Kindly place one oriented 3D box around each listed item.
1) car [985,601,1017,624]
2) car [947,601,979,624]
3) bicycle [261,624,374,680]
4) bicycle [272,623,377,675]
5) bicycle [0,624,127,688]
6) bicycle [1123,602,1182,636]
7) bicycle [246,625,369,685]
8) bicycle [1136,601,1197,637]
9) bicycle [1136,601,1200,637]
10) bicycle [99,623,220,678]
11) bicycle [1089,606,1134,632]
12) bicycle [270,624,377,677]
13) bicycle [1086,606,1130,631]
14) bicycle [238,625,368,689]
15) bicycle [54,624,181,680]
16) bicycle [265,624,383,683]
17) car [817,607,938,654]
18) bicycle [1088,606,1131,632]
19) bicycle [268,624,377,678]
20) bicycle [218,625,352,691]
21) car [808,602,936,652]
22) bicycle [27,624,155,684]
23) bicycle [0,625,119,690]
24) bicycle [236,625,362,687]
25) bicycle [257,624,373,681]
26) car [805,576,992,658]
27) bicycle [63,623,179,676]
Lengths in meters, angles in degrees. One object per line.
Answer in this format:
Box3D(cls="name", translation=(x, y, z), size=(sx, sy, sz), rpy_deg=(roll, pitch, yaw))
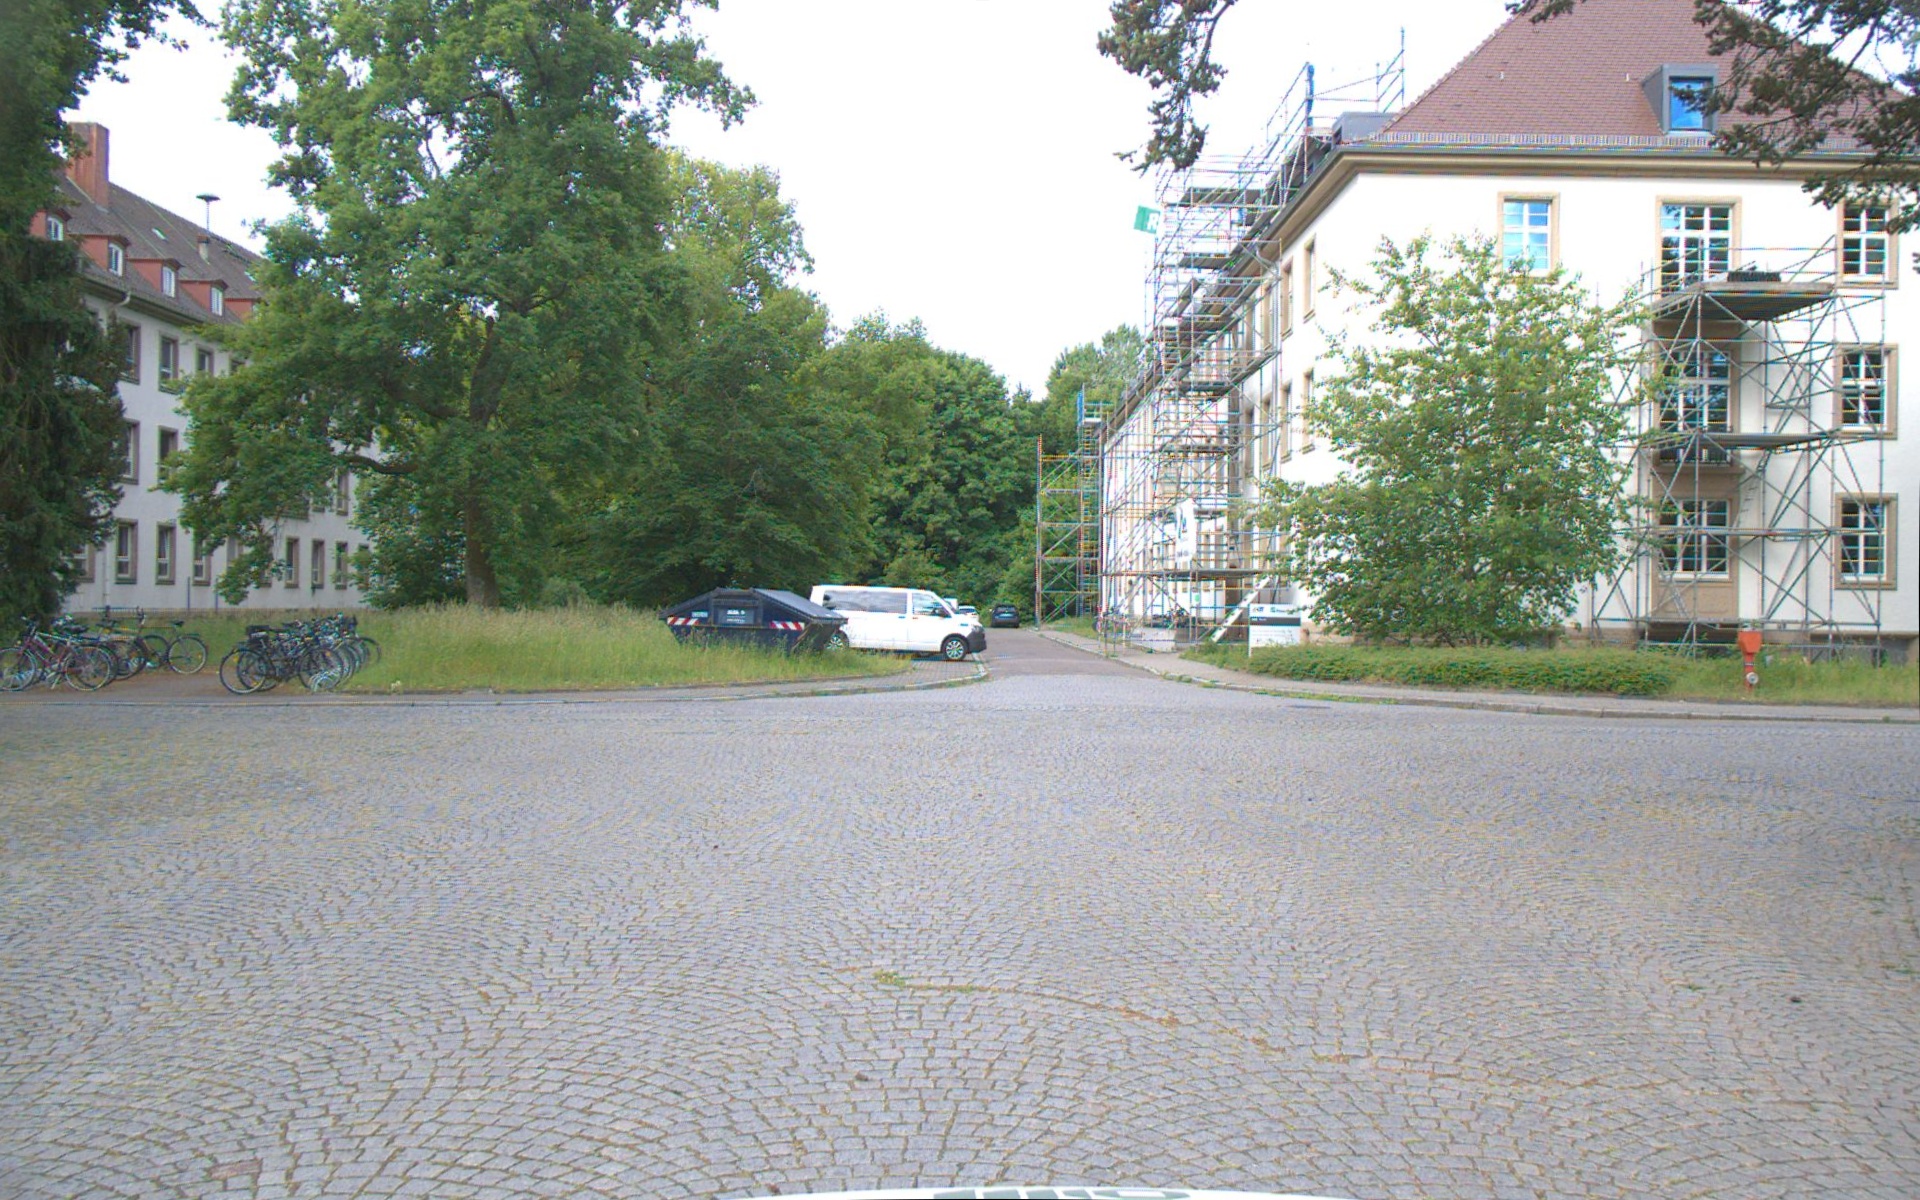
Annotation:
Box3D(cls="car", translation=(2.791, 0.858, 112.975), size=(1.912, 1.548, 3.998), rpy_deg=(1, 0, -2))
Box3D(cls="car", translation=(0.170, 0.847, 112.653), size=(2.076, 1.548, 3.999), rpy_deg=(1, 0, -1))
Box3D(cls="bicycle", translation=(-11.874, 0.954, 30.584), size=(1.931, 1.007, 0.622), rpy_deg=(1, 0, -24))
Box3D(cls="bicycle", translation=(-12.668, 0.978, 32.993), size=(1.931, 1.007, 0.622), rpy_deg=(1, 0, -24))
Box3D(cls="bicycle", translation=(-14.665, 0.905, 26.908), size=(1.931, 1.007, 0.622), rpy_deg=(1, 0, -23))
Box3D(cls="bicycle", translation=(7.424, 0.731, 63.948), size=(2.194, 1.276, 0.778), rpy_deg=(1, -1, 2))
Box3D(cls="bicycle", translation=(-11.194, 0.932, 28.406), size=(1.931, 1.007, 0.622), rpy_deg=(1, 0, -24))
Box3D(cls="bicycle", translation=(7.698, 0.706, 61.606), size=(2.194, 1.276, 0.778), rpy_deg=(1, -1, 2))
Box3D(cls="bicycle", translation=(7.502, 0.684, 59.693), size=(2.194, 1.276, 0.778), rpy_deg=(1, -1, 2))
Box3D(cls="bicycle", translation=(-14.967, 0.949, 30.969), size=(1.922, 1.007, 0.625), rpy_deg=(0, 0, -11))
Box3D(cls="bicycle", translation=(7.642, 0.951, 83.528), size=(2.194, 1.276, 0.627), rpy_deg=(1, -1, 2))
Box3D(cls="bicycle", translation=(-12.413, 0.971, 32.274), size=(1.931, 1.007, 0.622), rpy_deg=(1, 0, -24))
Box3D(cls="bicycle", translation=(7.647, 0.973, 85.502), size=(2.194, 1.276, 0.634), rpy_deg=(1, -1, 2))
Box3D(cls="bicycle", translation=(-10.640, 0.916, 26.815), size=(1.931, 1.007, 0.622), rpy_deg=(1, 0, -24))
Box3D(cls="bicycle", translation=(-15.238, 0.938, 29.959), size=(1.922, 1.007, 0.625), rpy_deg=(0, 0, -11))
Box3D(cls="bicycle", translation=(-11.253, 0.941, 29.282), size=(1.931, 1.007, 0.622), rpy_deg=(1, 0, -24))
Box3D(cls="car", translation=(-2.562, 0.947, 51.757), size=(3.712, 1.420, 1.999), rpy_deg=(1, 0, -2))
Box3D(cls="bicycle", translation=(7.646, 0.964, 84.657), size=(2.194, 1.276, 0.698), rpy_deg=(1, -1, 2))
Box3D(cls="bicycle", translation=(-12.215, 0.965, 31.707), size=(1.931, 1.007, 0.622), rpy_deg=(1, 0, -24))
Box3D(cls="bicycle", translation=(-10.661, 0.909, 26.190), size=(1.929, 1.007, 0.623), rpy_deg=(0, 0, -21))
Box3D(cls="car", translation=(-2.600, 0.789, 49.225), size=(3.713, 1.420, 1.999), rpy_deg=(1, 0, -3))
Box3D(cls="bicycle", translation=(-15.002, 0.924, 28.613), size=(1.934, 1.007, 0.621), rpy_deg=(1, 0, -27))
Box3D(cls="bicycle", translation=(-14.534, 0.900, 26.420), size=(1.934, 1.007, 0.621), rpy_deg=(1, 0, -27))
Box3D(cls="bicycle", translation=(-11.093, 0.925, 27.782), size=(1.931, 1.007, 0.622), rpy_deg=(1, 0, -24))
Box3D(cls="bicycle", translation=(-11.695, 0.948, 30.004), size=(1.931, 1.007, 0.622), rpy_deg=(1, 0, -24))
Box3D(cls="car", translation=(-1.738, 0.472, 46.643), size=(5.130, 2.206, 1.999), rpy_deg=(1, 0, -3))
Box3D(cls="bicycle", translation=(-16.413, 0.960, 32.382), size=(1.927, 1.007, 0.624), rpy_deg=(0, 0, -18))
